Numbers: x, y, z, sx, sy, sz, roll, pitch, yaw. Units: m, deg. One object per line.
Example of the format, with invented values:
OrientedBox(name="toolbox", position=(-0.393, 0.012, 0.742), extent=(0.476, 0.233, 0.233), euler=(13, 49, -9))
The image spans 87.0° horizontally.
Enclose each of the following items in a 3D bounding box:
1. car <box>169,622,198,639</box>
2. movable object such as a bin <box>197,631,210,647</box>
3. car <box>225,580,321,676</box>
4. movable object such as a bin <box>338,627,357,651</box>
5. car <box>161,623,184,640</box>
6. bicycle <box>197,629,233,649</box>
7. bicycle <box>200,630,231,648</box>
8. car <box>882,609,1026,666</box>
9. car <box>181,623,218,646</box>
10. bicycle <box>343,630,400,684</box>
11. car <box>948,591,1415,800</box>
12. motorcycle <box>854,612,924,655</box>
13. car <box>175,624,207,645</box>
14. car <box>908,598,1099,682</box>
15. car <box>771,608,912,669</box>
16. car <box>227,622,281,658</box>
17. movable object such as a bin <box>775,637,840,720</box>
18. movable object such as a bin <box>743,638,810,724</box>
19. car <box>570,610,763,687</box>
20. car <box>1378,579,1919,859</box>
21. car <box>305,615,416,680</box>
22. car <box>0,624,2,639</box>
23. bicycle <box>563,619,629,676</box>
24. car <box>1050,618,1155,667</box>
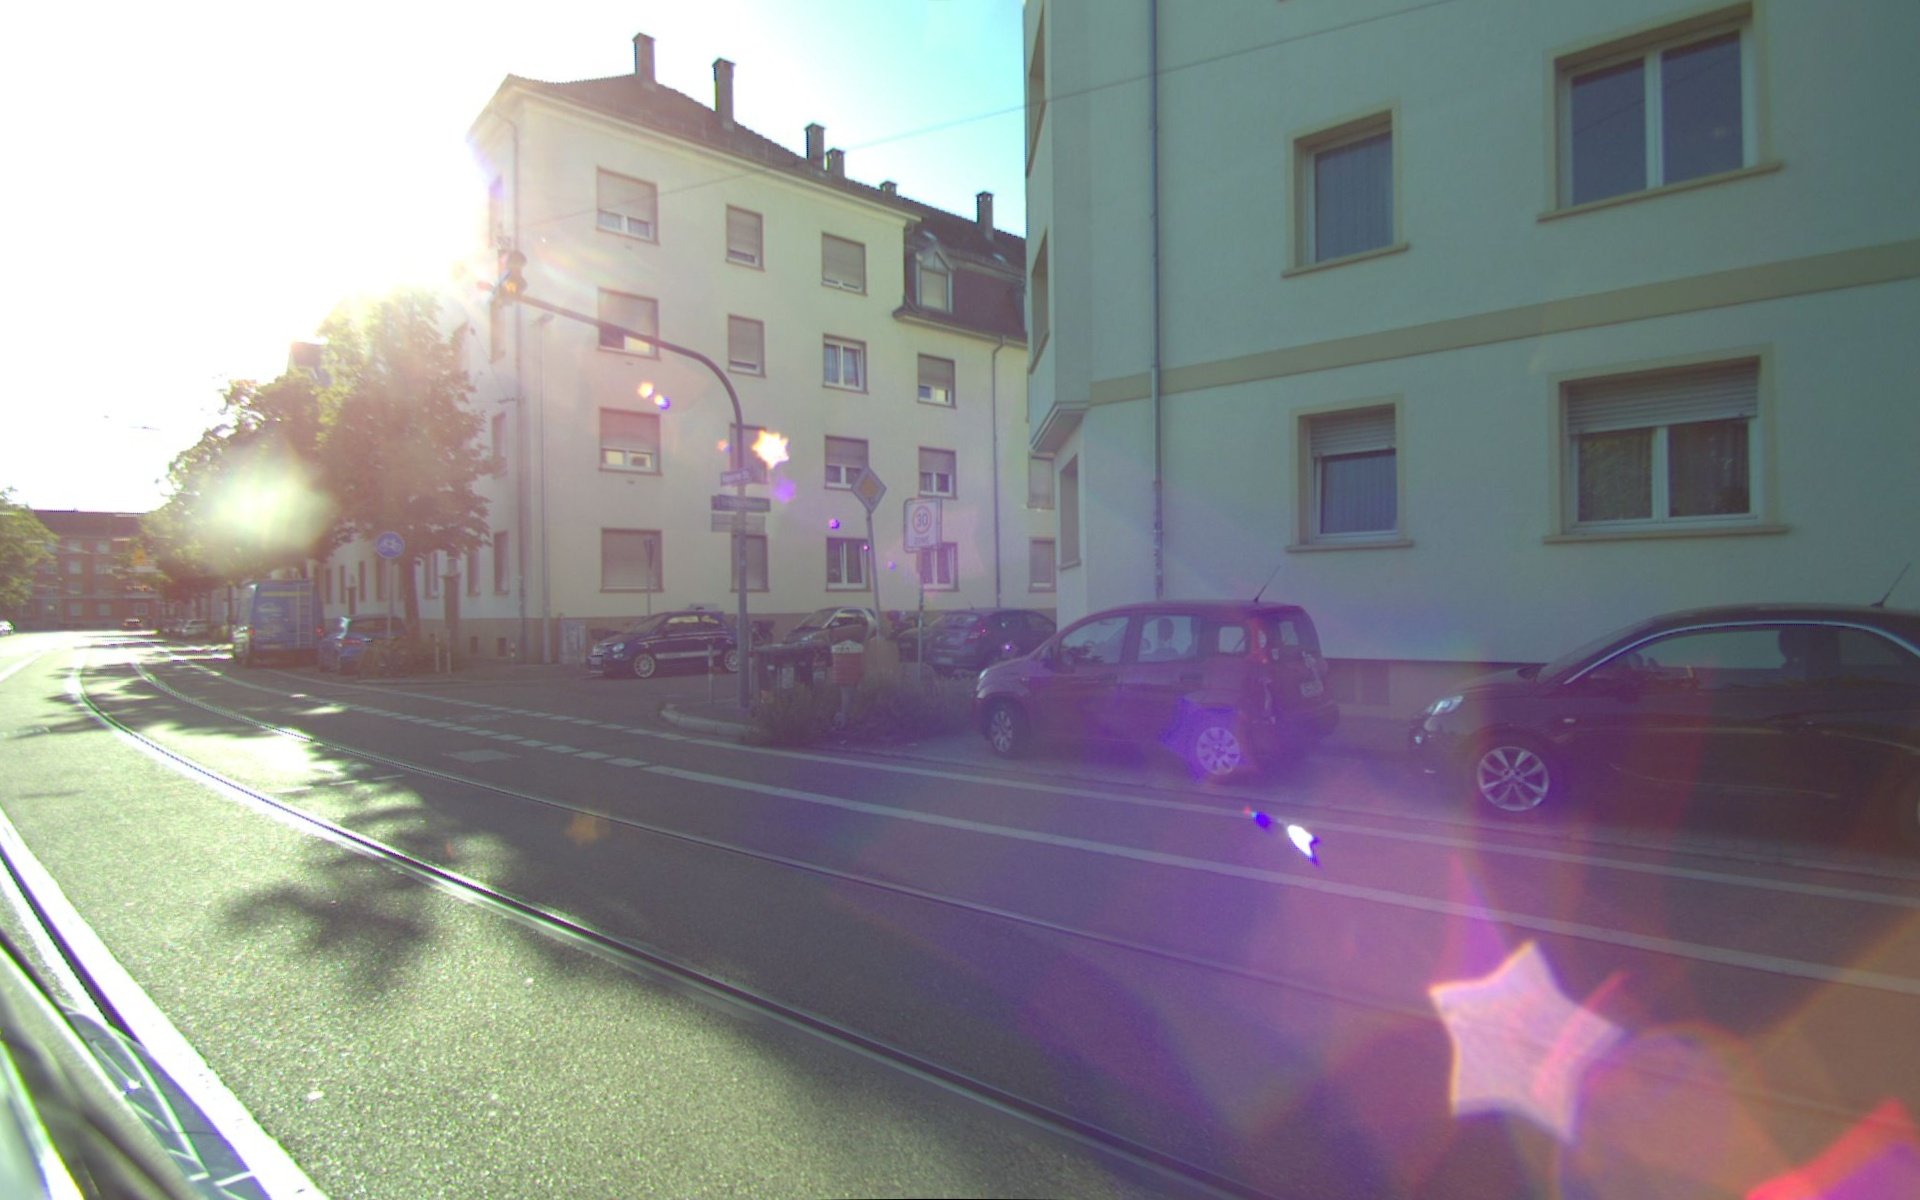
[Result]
OrientedBox(name="car", position=(-70.841, 2.784, 92.258), extent=(1.850, 1.439, 4.300), euler=(-2, 1, -40))
OrientedBox(name="movable object such as a bin", position=(-51.583, 2.647, 68.973), extent=(0.575, 0.966, 0.703), euler=(-7, 4, -40))
OrientedBox(name="car", position=(-22.595, 0.863, 33.161), extent=(1.992, 2.847, 6.042), euler=(-2, 1, -39))
OrientedBox(name="movable object such as a bin", position=(-25.392, 1.609, 41.944), extent=(0.589, 0.941, 0.569), euler=(0, -1, -43))
OrientedBox(name="car", position=(-75.001, 2.985, 96.331), extent=(1.552, 1.516, 4.006), euler=(-2, 1, -40))
OrientedBox(name="bicycle", position=(-43.916, 2.299, 59.666), extent=(0.525, 1.048, 1.985), euler=(-2, 1, 3))
OrientedBox(name="bicycle", position=(-46.193, 2.423, 62.779), extent=(0.659, 1.048, 1.788), euler=(-2, 0, -3))
OrientedBox(name="car", position=(-0.108, 1.029, 29.252), extent=(4.118, 1.469, 1.712), euler=(0, -1, -44))
OrientedBox(name="car", position=(-55.949, 2.512, 74.461), extent=(1.842, 1.501, 4.668), euler=(-2, 1, -41))
OrientedBox(name="bicycle", position=(-13.253, 1.255, 22.753), extent=(2.031, 1.143, 0.506), euler=(-1, 1, 43))
OrientedBox(name="car", position=(1.911, 0.738, 9.528), extent=(4.000, 1.541, 1.670), euler=(-1, 0, 43))
OrientedBox(name="motorcycle", position=(-2.220, 1.037, 32.021), extent=(0.625, 1.317, 2.517), euler=(1, 0, 41))
OrientedBox(name="car", position=(-60.917, 2.740, 80.177), extent=(1.751, 1.497, 4.312), euler=(-2, 1, -41))
OrientedBox(name="car", position=(1.009, 0.795, 21.929), extent=(3.940, 1.541, 1.909), euler=(-2, 1, -43))
OrientedBox(name="car", position=(-3.072, 0.969, 26.698), extent=(3.467, 1.469, 1.580), euler=(0, -1, -45))
OrientedBox(name="car", position=(-32.576, 1.811, 46.658), extent=(1.631, 1.502, 4.006), euler=(-2, 1, -40))
OrientedBox(name="movable object such as a bin", position=(-1.944, 0.980, 12.904), extent=(0.659, 0.995, 0.479), euler=(-1, 0, 42))
OrientedBox(name="movable object such as a bin", position=(-2.269, 0.985, 12.512), extent=(0.659, 0.995, 0.479), euler=(-1, 0, 42))
OrientedBox(name="car", position=(-6.672, 1.045, 23.239), extent=(3.842, 1.469, 1.769), euler=(-2, 1, -45))
OrientedBox(name="car", position=(5.108, 0.668, 6.888), extent=(3.851, 1.541, 1.770), euler=(-1, 0, 37))
OrientedBox(name="car", position=(-16.473, 1.239, 27.705), extent=(1.769, 1.572, 4.649), euler=(-2, 0, -41))
OrientedBox(name="car", position=(-96.199, 3.136, 100.272), extent=(1.691, 1.501, 4.630), euler=(0, -2, -41))
OrientedBox(name="bicycle", position=(-8.676, 1.123, 24.169), extent=(0.397, 1.238, 1.486), euler=(2, 3, 41))
OrientedBox(name="car", position=(4.736, 1.366, 33.423), extent=(3.466, 1.469, 1.580), euler=(0, -2, -44))
